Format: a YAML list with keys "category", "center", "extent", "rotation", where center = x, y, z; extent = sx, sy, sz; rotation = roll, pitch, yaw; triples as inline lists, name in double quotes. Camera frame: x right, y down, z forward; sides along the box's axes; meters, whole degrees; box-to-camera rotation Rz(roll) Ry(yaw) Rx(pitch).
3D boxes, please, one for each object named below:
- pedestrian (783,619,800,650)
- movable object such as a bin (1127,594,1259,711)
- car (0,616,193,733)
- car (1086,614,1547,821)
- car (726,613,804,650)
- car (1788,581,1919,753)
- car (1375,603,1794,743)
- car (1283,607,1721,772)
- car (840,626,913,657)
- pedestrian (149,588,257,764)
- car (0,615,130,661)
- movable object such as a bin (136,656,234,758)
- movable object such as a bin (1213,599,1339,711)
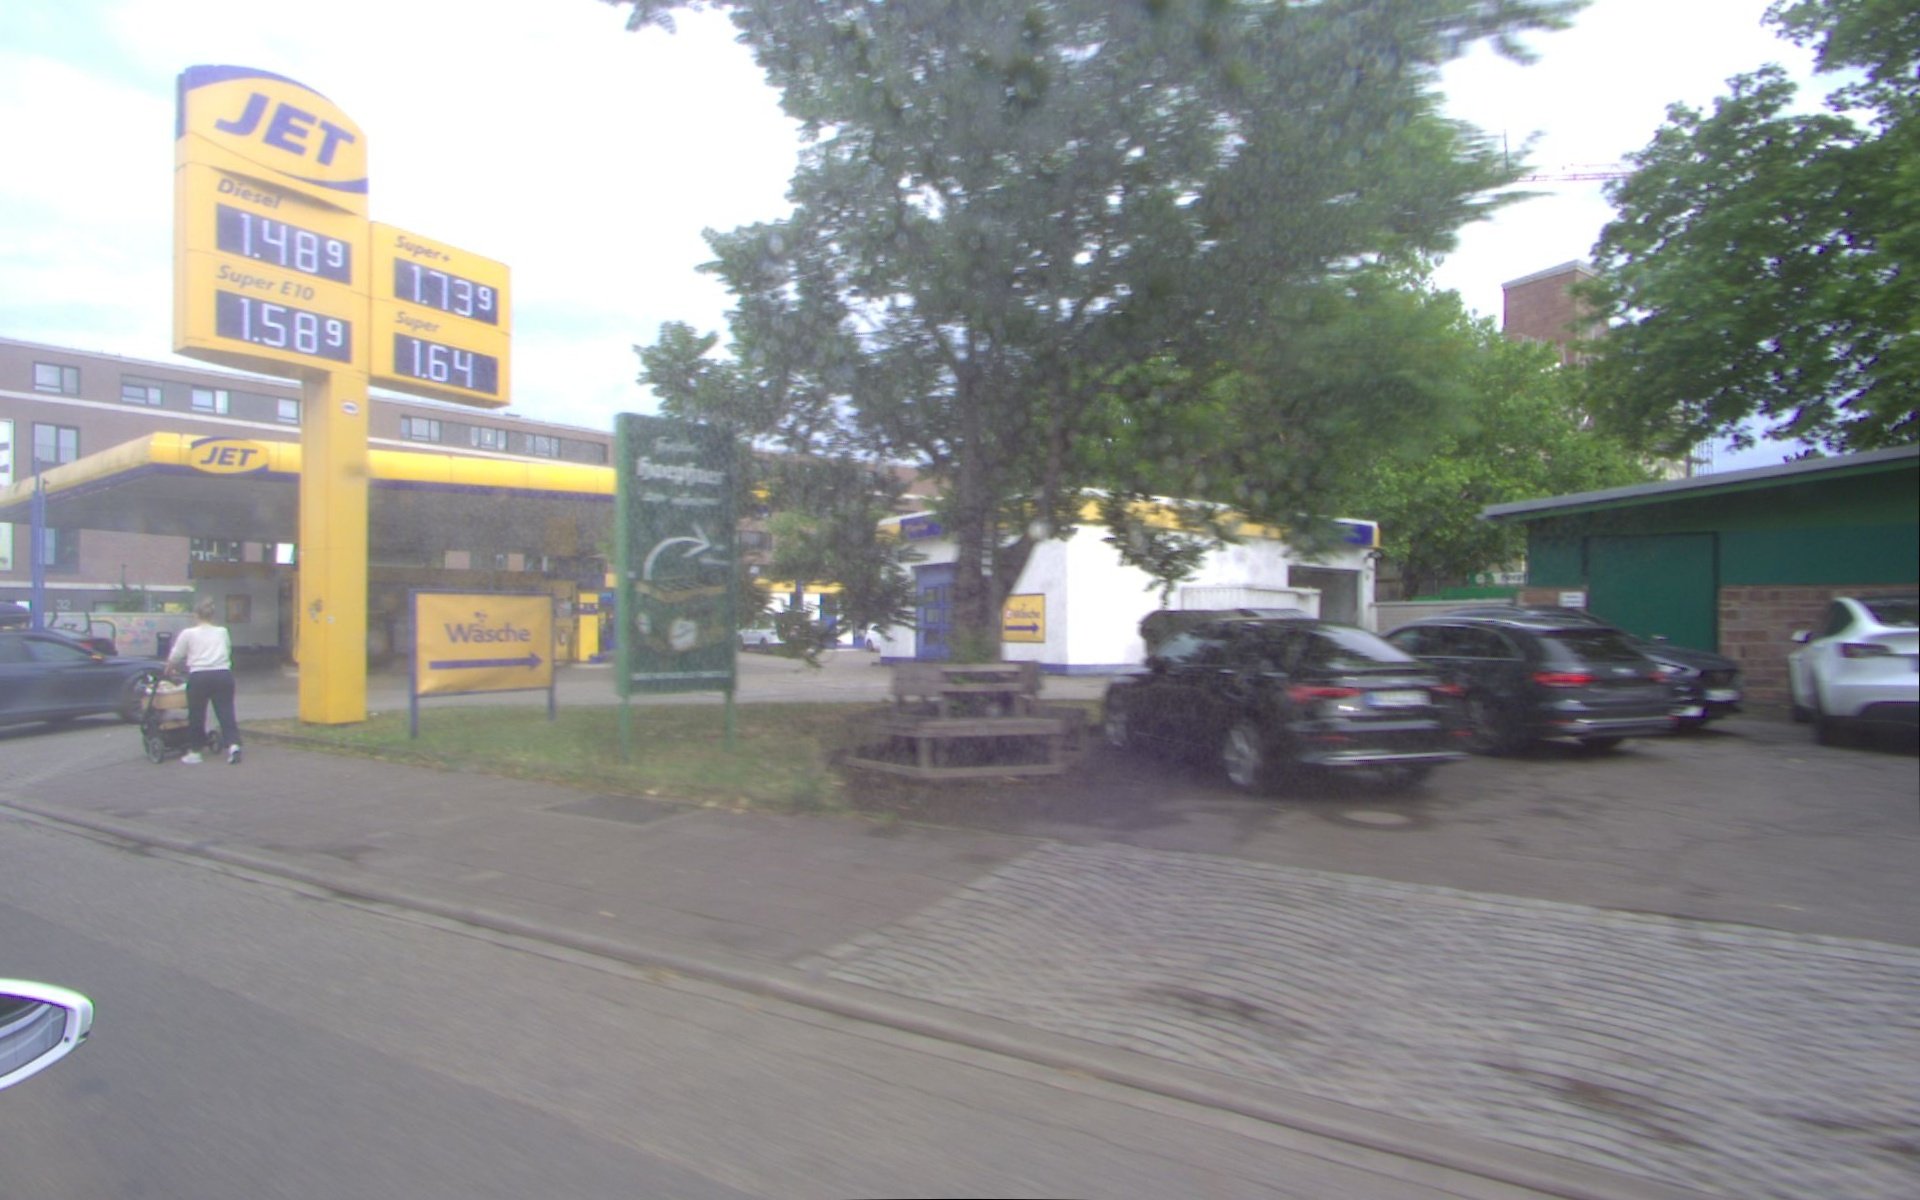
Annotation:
- category: "pedestrian"
  center: [-7.670, 1.570, 45.595]
  extent: [0.573, 1.363, 0.608]
  rotation: [2, -3, -34]
- category: "movable object such as a bin"
  center: [3.277, 0.726, 14.175]
  extent: [1.397, 1.535, 1.121]
  rotation: [1, 3, -17]
- category: "car"
  center: [-13.737, 1.028, 14.265]
  extent: [1.958, 1.517, 4.324]
  rotation: [0, 0, 8]
- category: "car"
  center: [2.936, 0.864, 9.529]
  extent: [1.900, 1.426, 4.578]
  rotation: [0, 0, -14]
- category: "car"
  center: [-9.332, 1.521, 47.622]
  extent: [1.819, 1.658, 4.445]
  rotation: [3, -4, -38]
- category: "car"
  center: [10.827, 0.710, 11.342]
  extent: [1.965, 1.667, 4.411]
  rotation: [-1, -2, 36]
- category: "car"
  center: [7.919, 0.813, 13.306]
  extent: [1.952, 1.478, 4.479]
  rotation: [1, 0, -19]
- category: "car"
  center: [5.896, 0.843, 11.666]
  extent: [1.844, 1.446, 4.534]
  rotation: [-2, 0, -16]
- category: "car"
  center: [-4.370, 2.167, 52.066]
  extent: [1.914, 1.546, 4.307]
  rotation: [2, -4, -34]
- category: "pedestrian"
  center: [-8.400, 0.800, 11.098]
  extent: [0.762, 1.821, 1.151]
  rotation: [-3, 2, -44]
- category: "car"
  center: [-30.213, 1.206, 32.357]
  extent: [4.799, 1.446, 1.950]
  rotation: [1, -1, -16]
- category: "movable object such as a bin"
  center: [-9.019, 1.215, 11.647]
  extent: [0.762, 1.053, 1.014]
  rotation: [-3, 1, -44]
- category: "movable object such as a bin"
  center: [4.573, 0.782, 14.546]
  extent: [1.272, 1.510, 1.121]
  rotation: [2, 1, -18]
